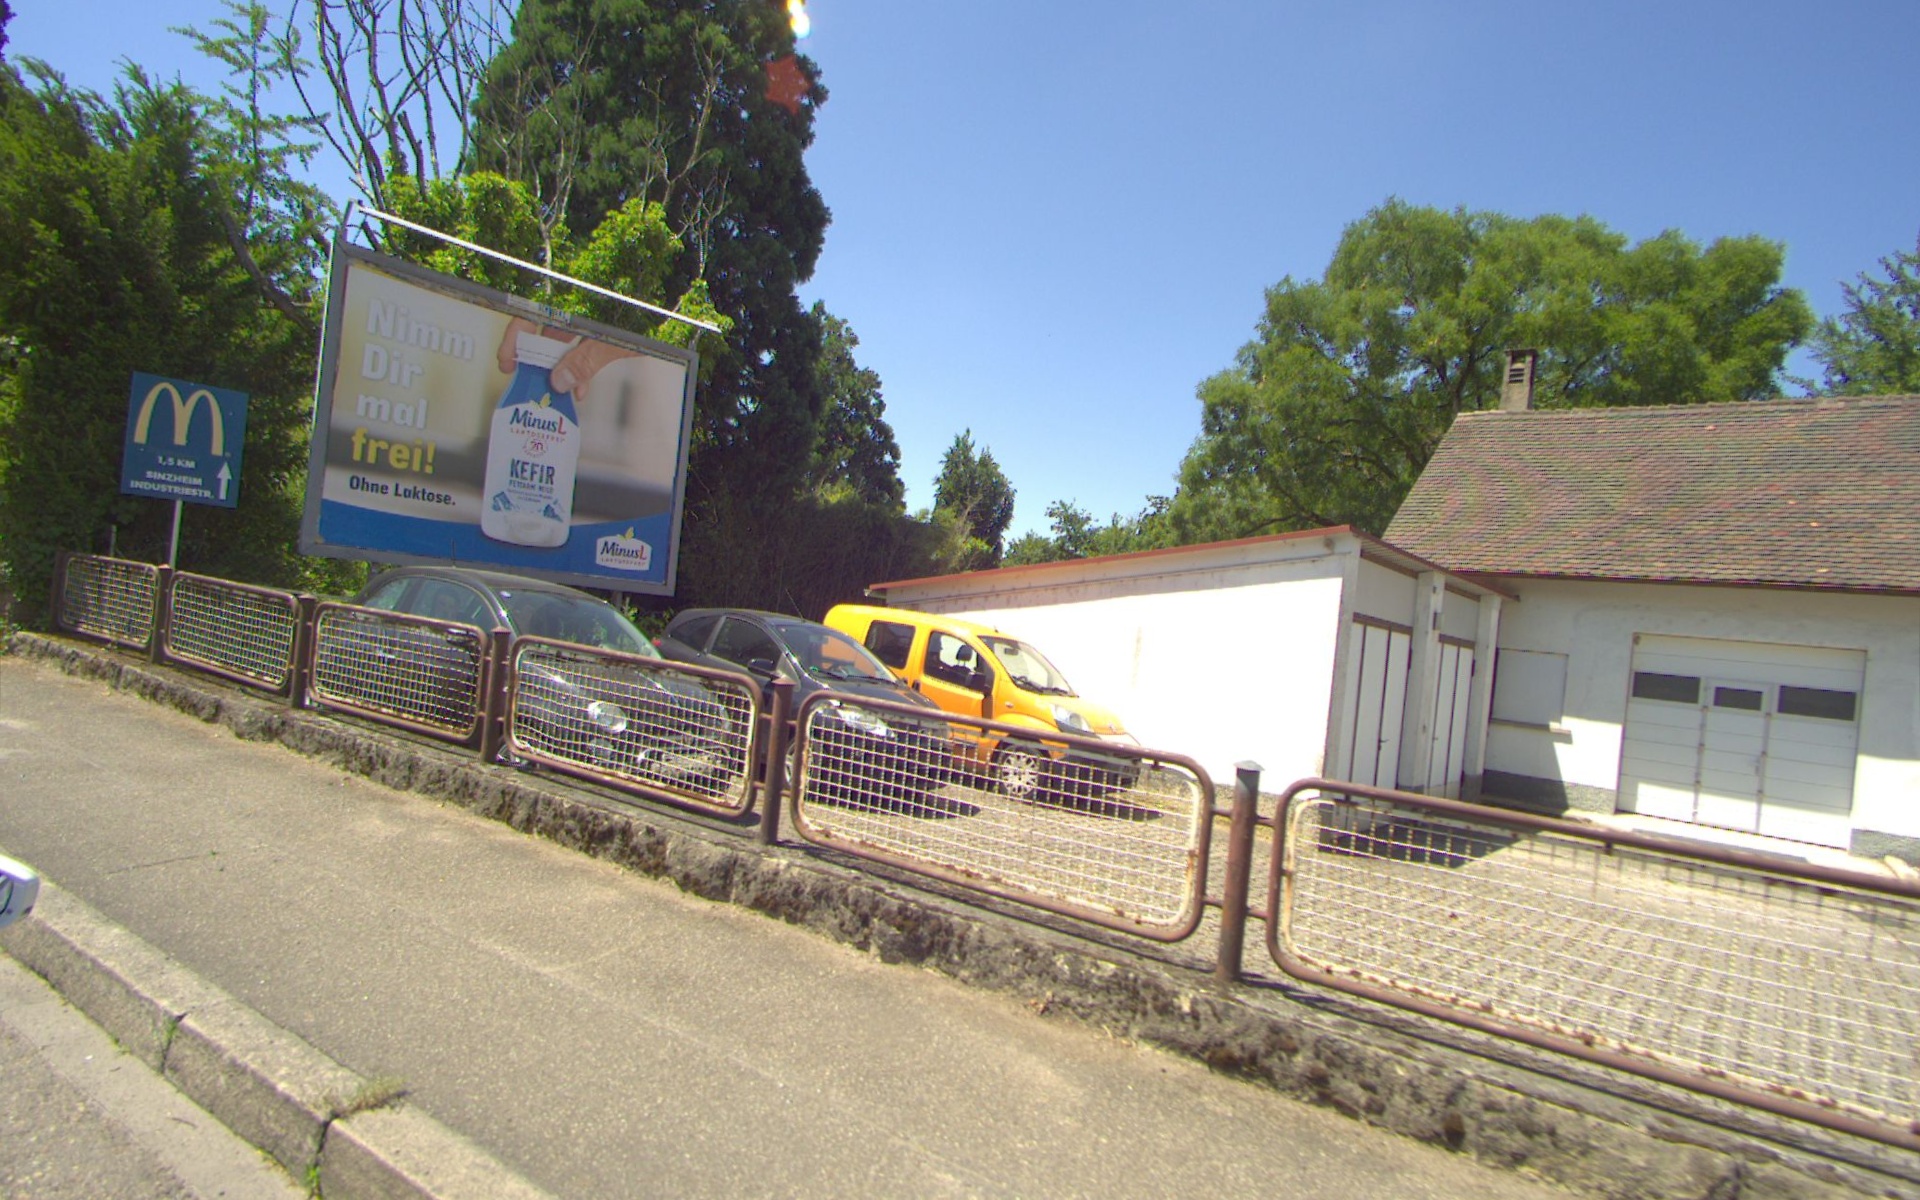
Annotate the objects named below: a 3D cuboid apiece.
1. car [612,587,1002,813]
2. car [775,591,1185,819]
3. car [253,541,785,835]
[{"bbox_3d":[-1.517,0.883,9.494,3.343,1.559,1.633,5,-5,39],"label":"car"},{"bbox_3d":[0.178,1.110,11.356,4.096,1.818,1.780,6,-4,31],"label":"car"},{"bbox_3d":[-3.258,0.567,7.359,3.496,1.474,1.637,6,-4,30],"label":"car"}]
